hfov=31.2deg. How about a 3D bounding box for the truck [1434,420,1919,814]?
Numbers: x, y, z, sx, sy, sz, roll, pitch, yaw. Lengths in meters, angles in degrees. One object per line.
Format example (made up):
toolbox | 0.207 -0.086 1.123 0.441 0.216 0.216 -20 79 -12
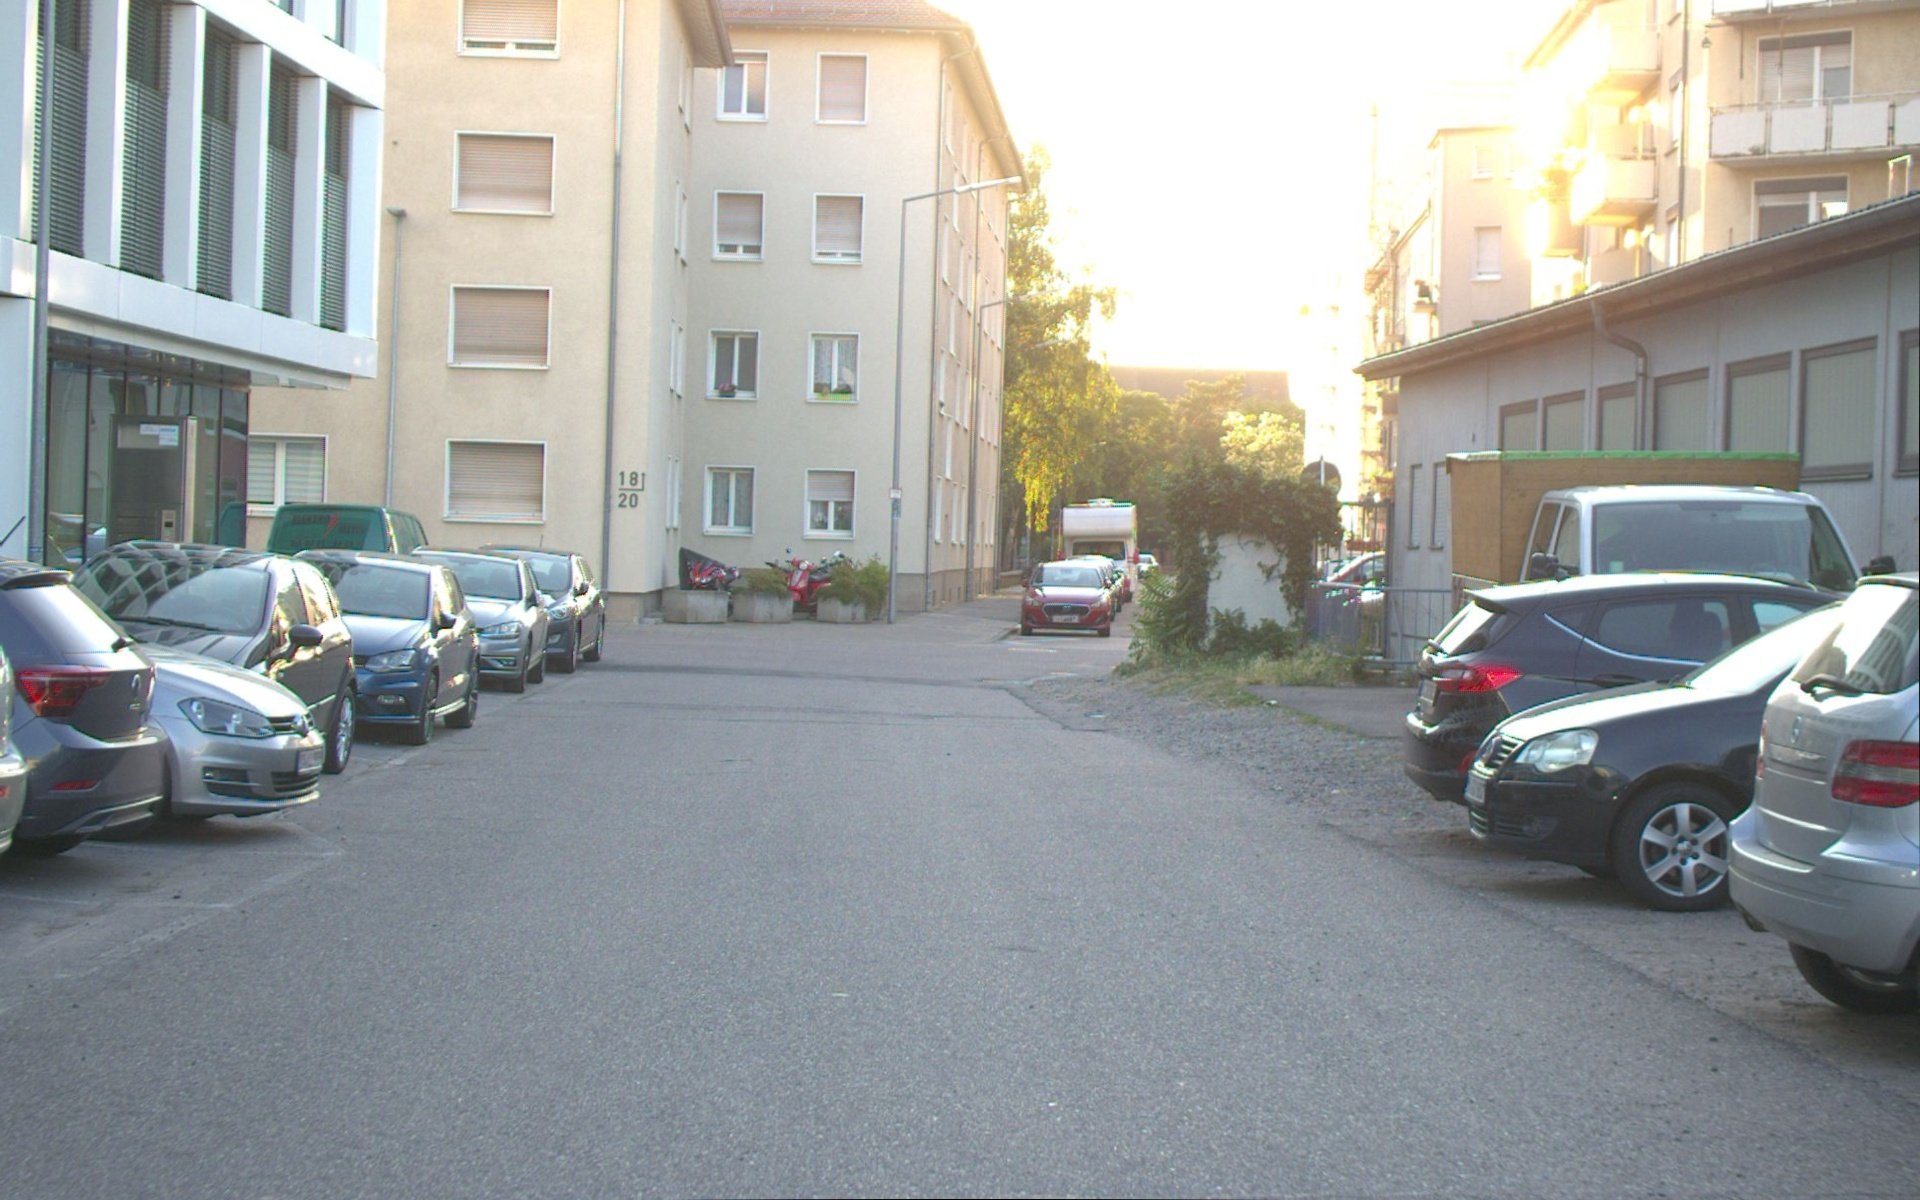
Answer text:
truck | 4.583 0.059 22.476 2.098 2.193 5.711 2 1 0

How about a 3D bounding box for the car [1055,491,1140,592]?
car | 4.648 -1.953 115.047 2.620 3.258 7.696 0 1 4

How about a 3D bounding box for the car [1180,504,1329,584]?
car | 10.234 -1.949 119.500 4.829 2.708 2.130 1 1 41

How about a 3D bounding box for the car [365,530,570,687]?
car | -5.362 0.046 37.863 1.710 1.474 4.185 5 1 -3

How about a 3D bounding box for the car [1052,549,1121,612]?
car | 3.041 -0.480 82.765 1.616 1.468 3.505 0 1 2

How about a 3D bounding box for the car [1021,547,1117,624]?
car | 2.214 -0.308 69.642 1.845 1.468 4.078 2 1 2

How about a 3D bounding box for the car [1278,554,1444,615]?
car | 10.795 -0.415 92.711 4.324 1.632 1.818 0 0 3

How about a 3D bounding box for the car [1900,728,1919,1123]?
car | 4.607 0.689 8.443 3.983 1.613 1.827 3 1 -3

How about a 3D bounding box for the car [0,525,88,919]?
car | -5.489 0.387 13.420 3.655 1.506 1.687 3 1 2

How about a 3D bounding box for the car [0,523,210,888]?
car | -5.452 0.363 15.557 3.655 1.506 1.687 3 1 2

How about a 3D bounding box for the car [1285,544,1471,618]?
car | 10.971 -0.502 90.414 4.722 1.903 2.059 0 0 3

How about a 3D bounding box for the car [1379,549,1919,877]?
car | 4.262 0.588 18.478 3.759 1.530 1.891 3 2 2

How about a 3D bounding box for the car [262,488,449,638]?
car | -8.477 -0.564 48.593 1.798 1.973 4.690 2 2 0

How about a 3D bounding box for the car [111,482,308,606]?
car | -10.519 -0.754 48.476 1.779 1.545 4.331 2 -1 0

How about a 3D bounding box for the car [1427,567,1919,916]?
car | 4.225 0.661 16.010 3.759 1.439 1.845 3 0 -1

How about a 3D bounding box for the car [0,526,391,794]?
car | -4.961 0.317 22.302 1.648 1.434 4.202 5 1 1

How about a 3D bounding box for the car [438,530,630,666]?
car | -5.342 -0.062 43.620 1.779 1.474 4.331 5 1 0

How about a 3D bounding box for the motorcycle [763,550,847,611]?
motorcycle | -3.040 -0.378 67.833 0.689 1.156 2.031 2 1 28

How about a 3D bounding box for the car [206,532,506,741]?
car | -4.834 0.240 28.039 1.648 1.434 4.185 5 1 -1

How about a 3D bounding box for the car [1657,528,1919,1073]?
car | 4.505 0.667 11.191 3.983 1.604 1.939 3 1 -1

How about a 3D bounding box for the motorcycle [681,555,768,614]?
motorcycle | -4.473 -0.295 65.363 0.724 1.075 2.078 2 1 24

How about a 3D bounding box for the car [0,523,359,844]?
car | -5.339 0.350 18.145 3.927 1.506 1.687 3 1 3
